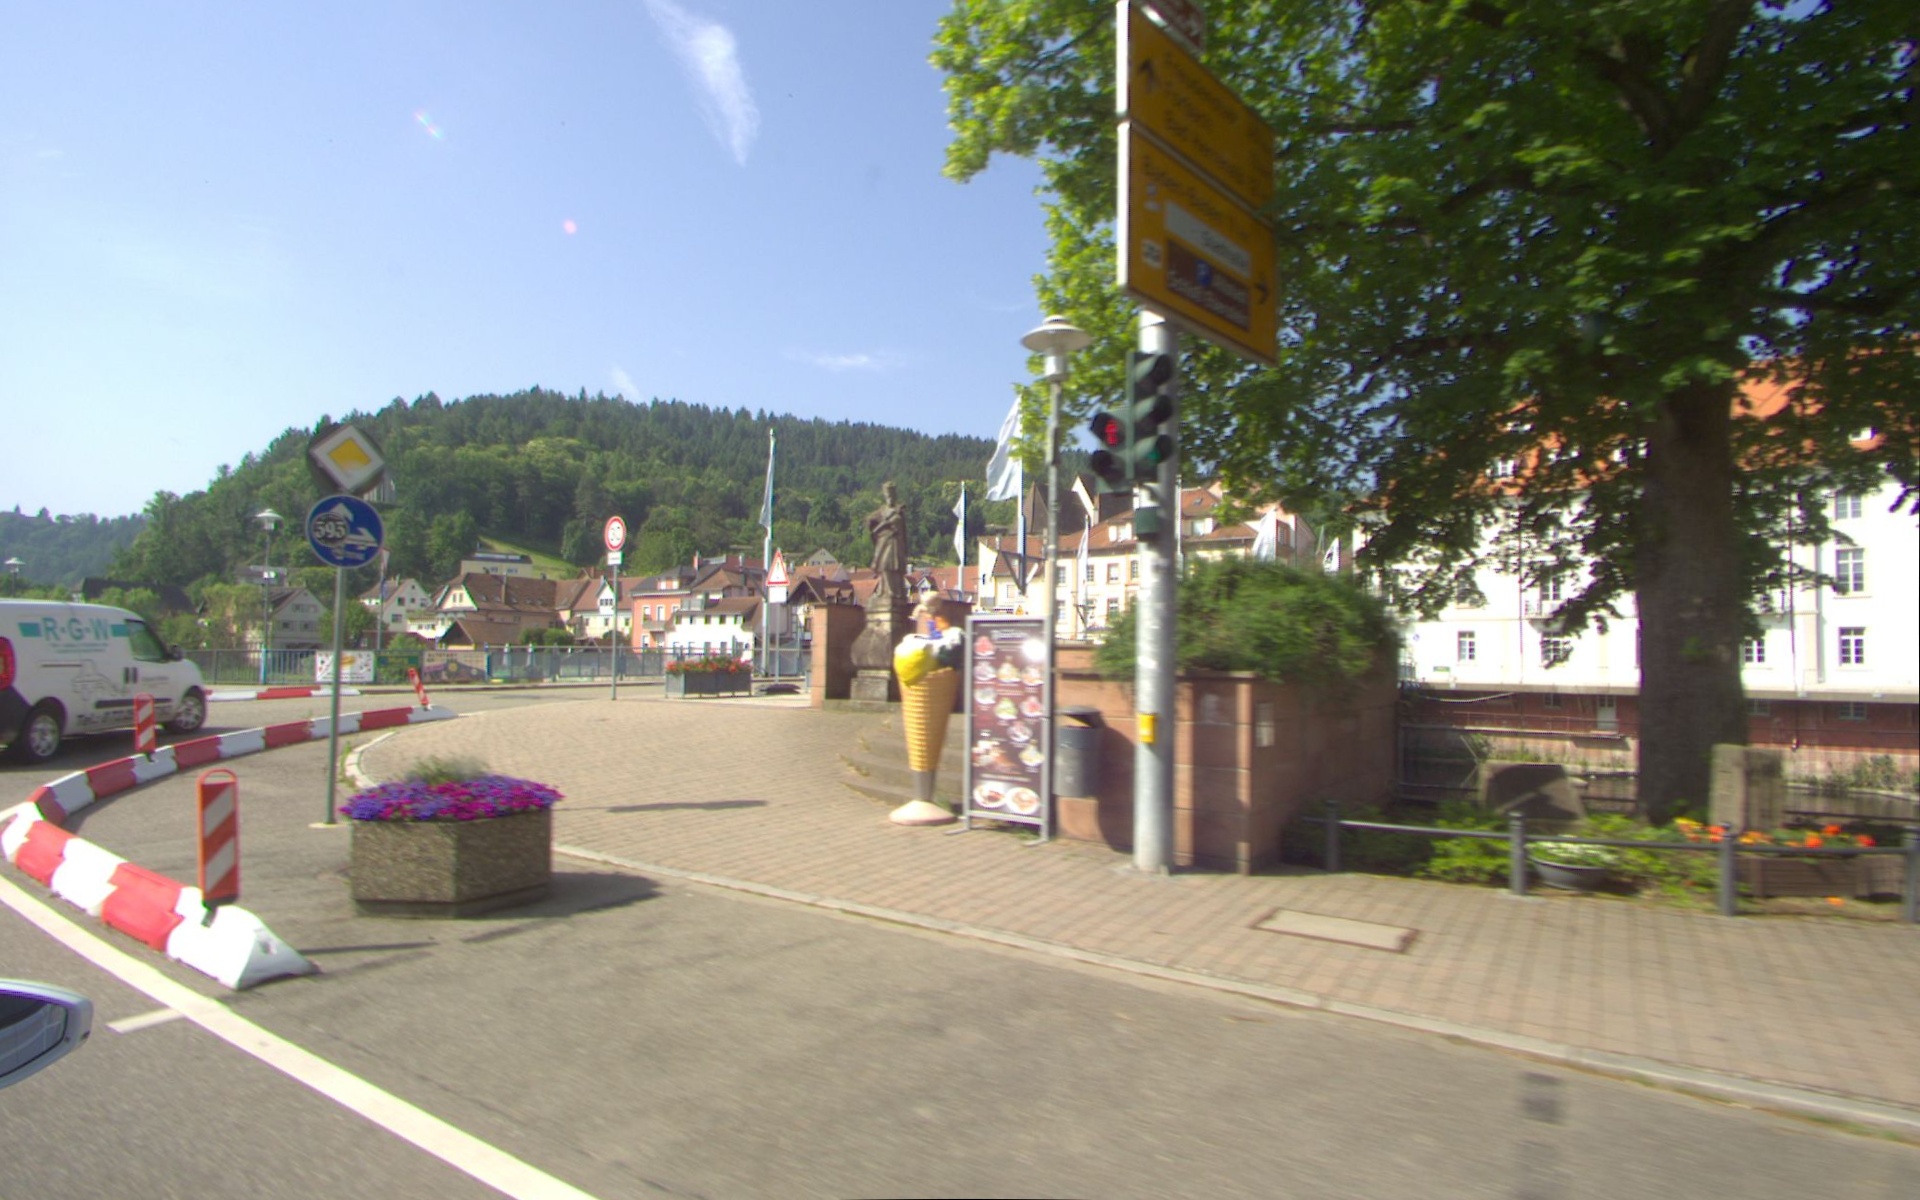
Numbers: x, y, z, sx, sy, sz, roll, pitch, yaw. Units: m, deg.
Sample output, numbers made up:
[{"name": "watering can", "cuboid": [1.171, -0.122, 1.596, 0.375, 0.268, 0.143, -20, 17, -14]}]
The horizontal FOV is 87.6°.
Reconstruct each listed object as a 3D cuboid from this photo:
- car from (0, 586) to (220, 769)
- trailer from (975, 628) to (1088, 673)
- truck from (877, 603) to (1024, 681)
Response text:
[{"name": "car", "cuboid": [-11.383, 0.835, 12.478, 1.816, 1.930, 4.311, 1, -1, -12]}, {"name": "trailer", "cuboid": [3.234, 2.202, 44.018, 2.583, 1.850, 5.608, -2, -3, 33]}, {"name": "truck", "cuboid": [-0.197, 1.566, 38.698, 2.083, 2.733, 7.095, -2, -2, 33]}]
